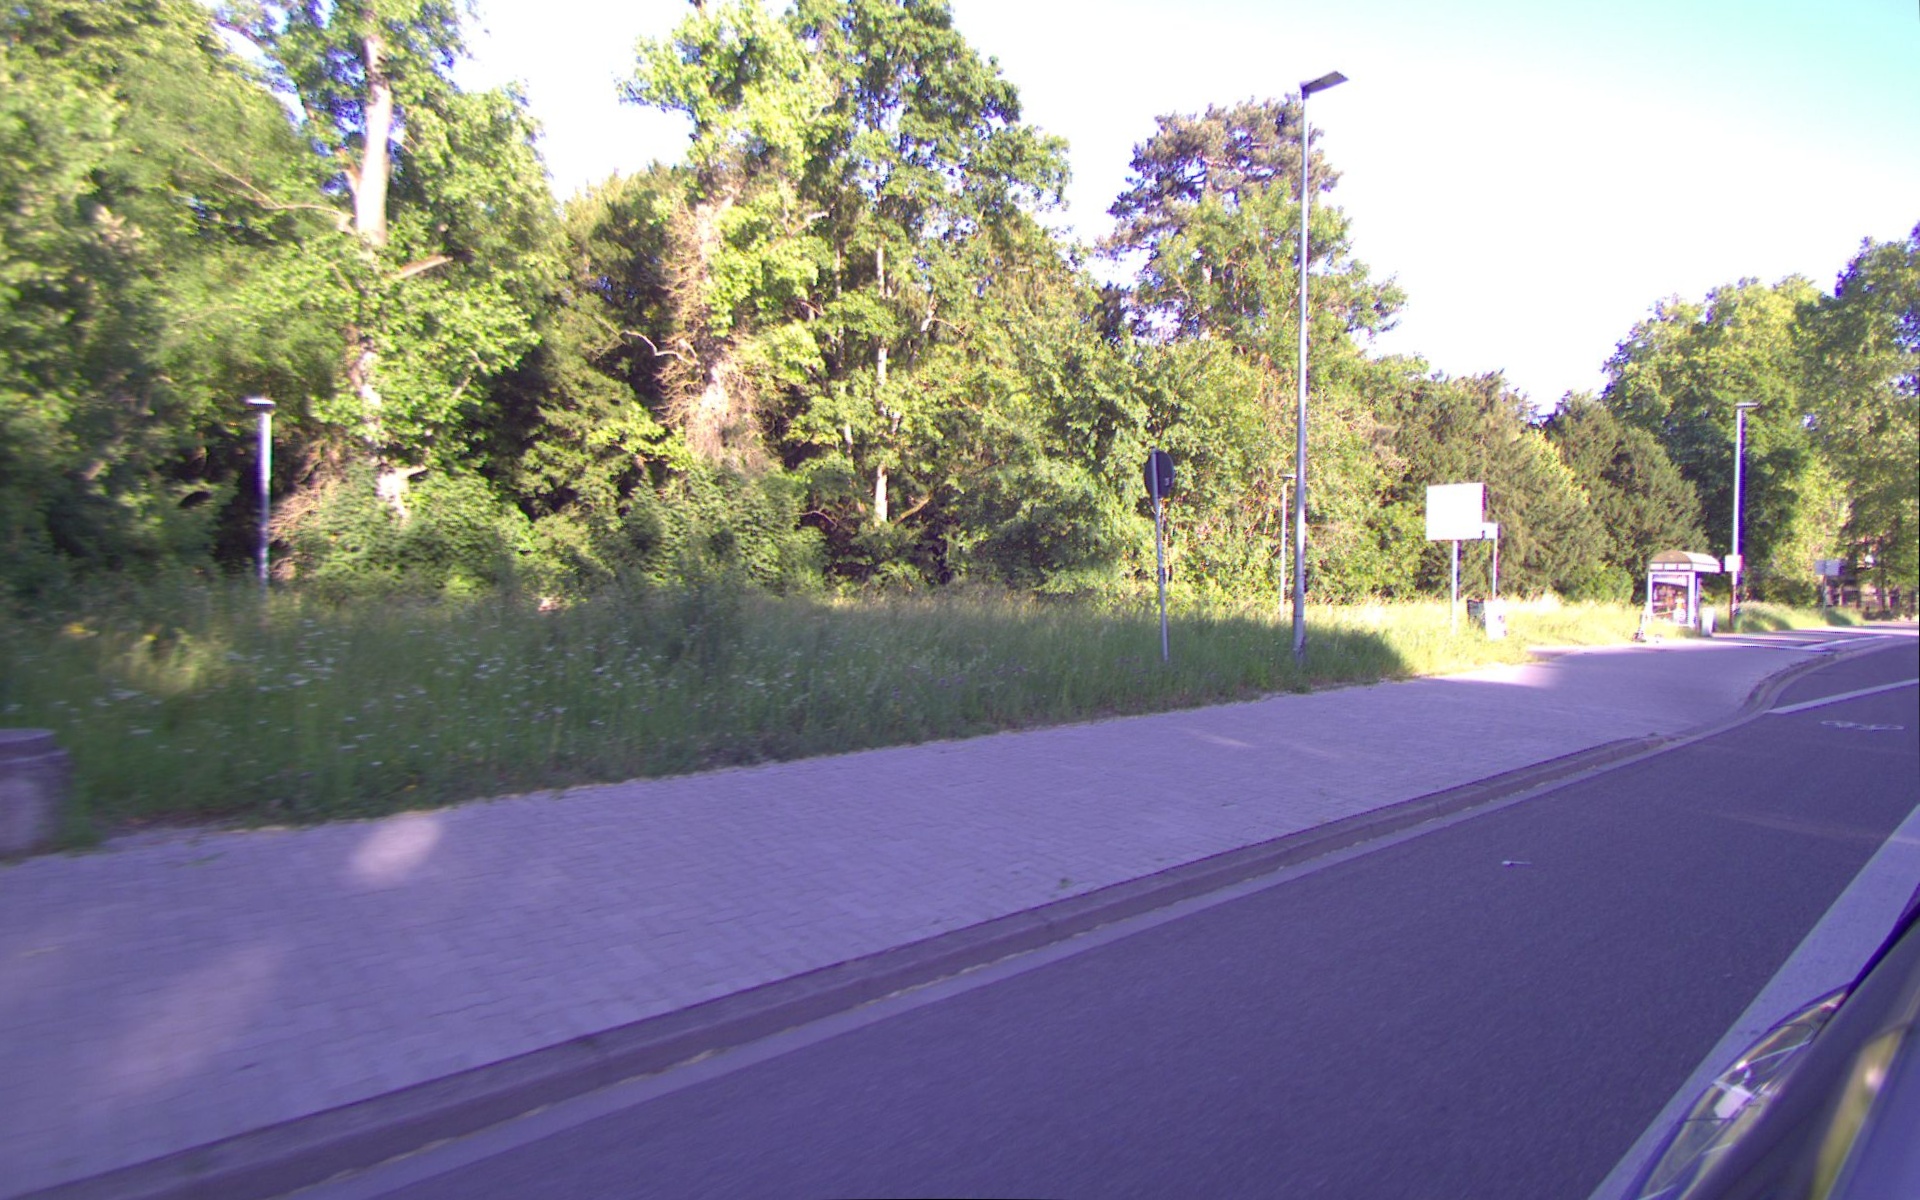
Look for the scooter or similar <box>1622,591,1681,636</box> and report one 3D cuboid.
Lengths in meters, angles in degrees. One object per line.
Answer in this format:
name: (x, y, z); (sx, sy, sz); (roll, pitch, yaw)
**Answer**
scooter or similar: (20.047, 0.400, 29.350); (1.300, 1.263, 0.726); (1, 1, -18)
